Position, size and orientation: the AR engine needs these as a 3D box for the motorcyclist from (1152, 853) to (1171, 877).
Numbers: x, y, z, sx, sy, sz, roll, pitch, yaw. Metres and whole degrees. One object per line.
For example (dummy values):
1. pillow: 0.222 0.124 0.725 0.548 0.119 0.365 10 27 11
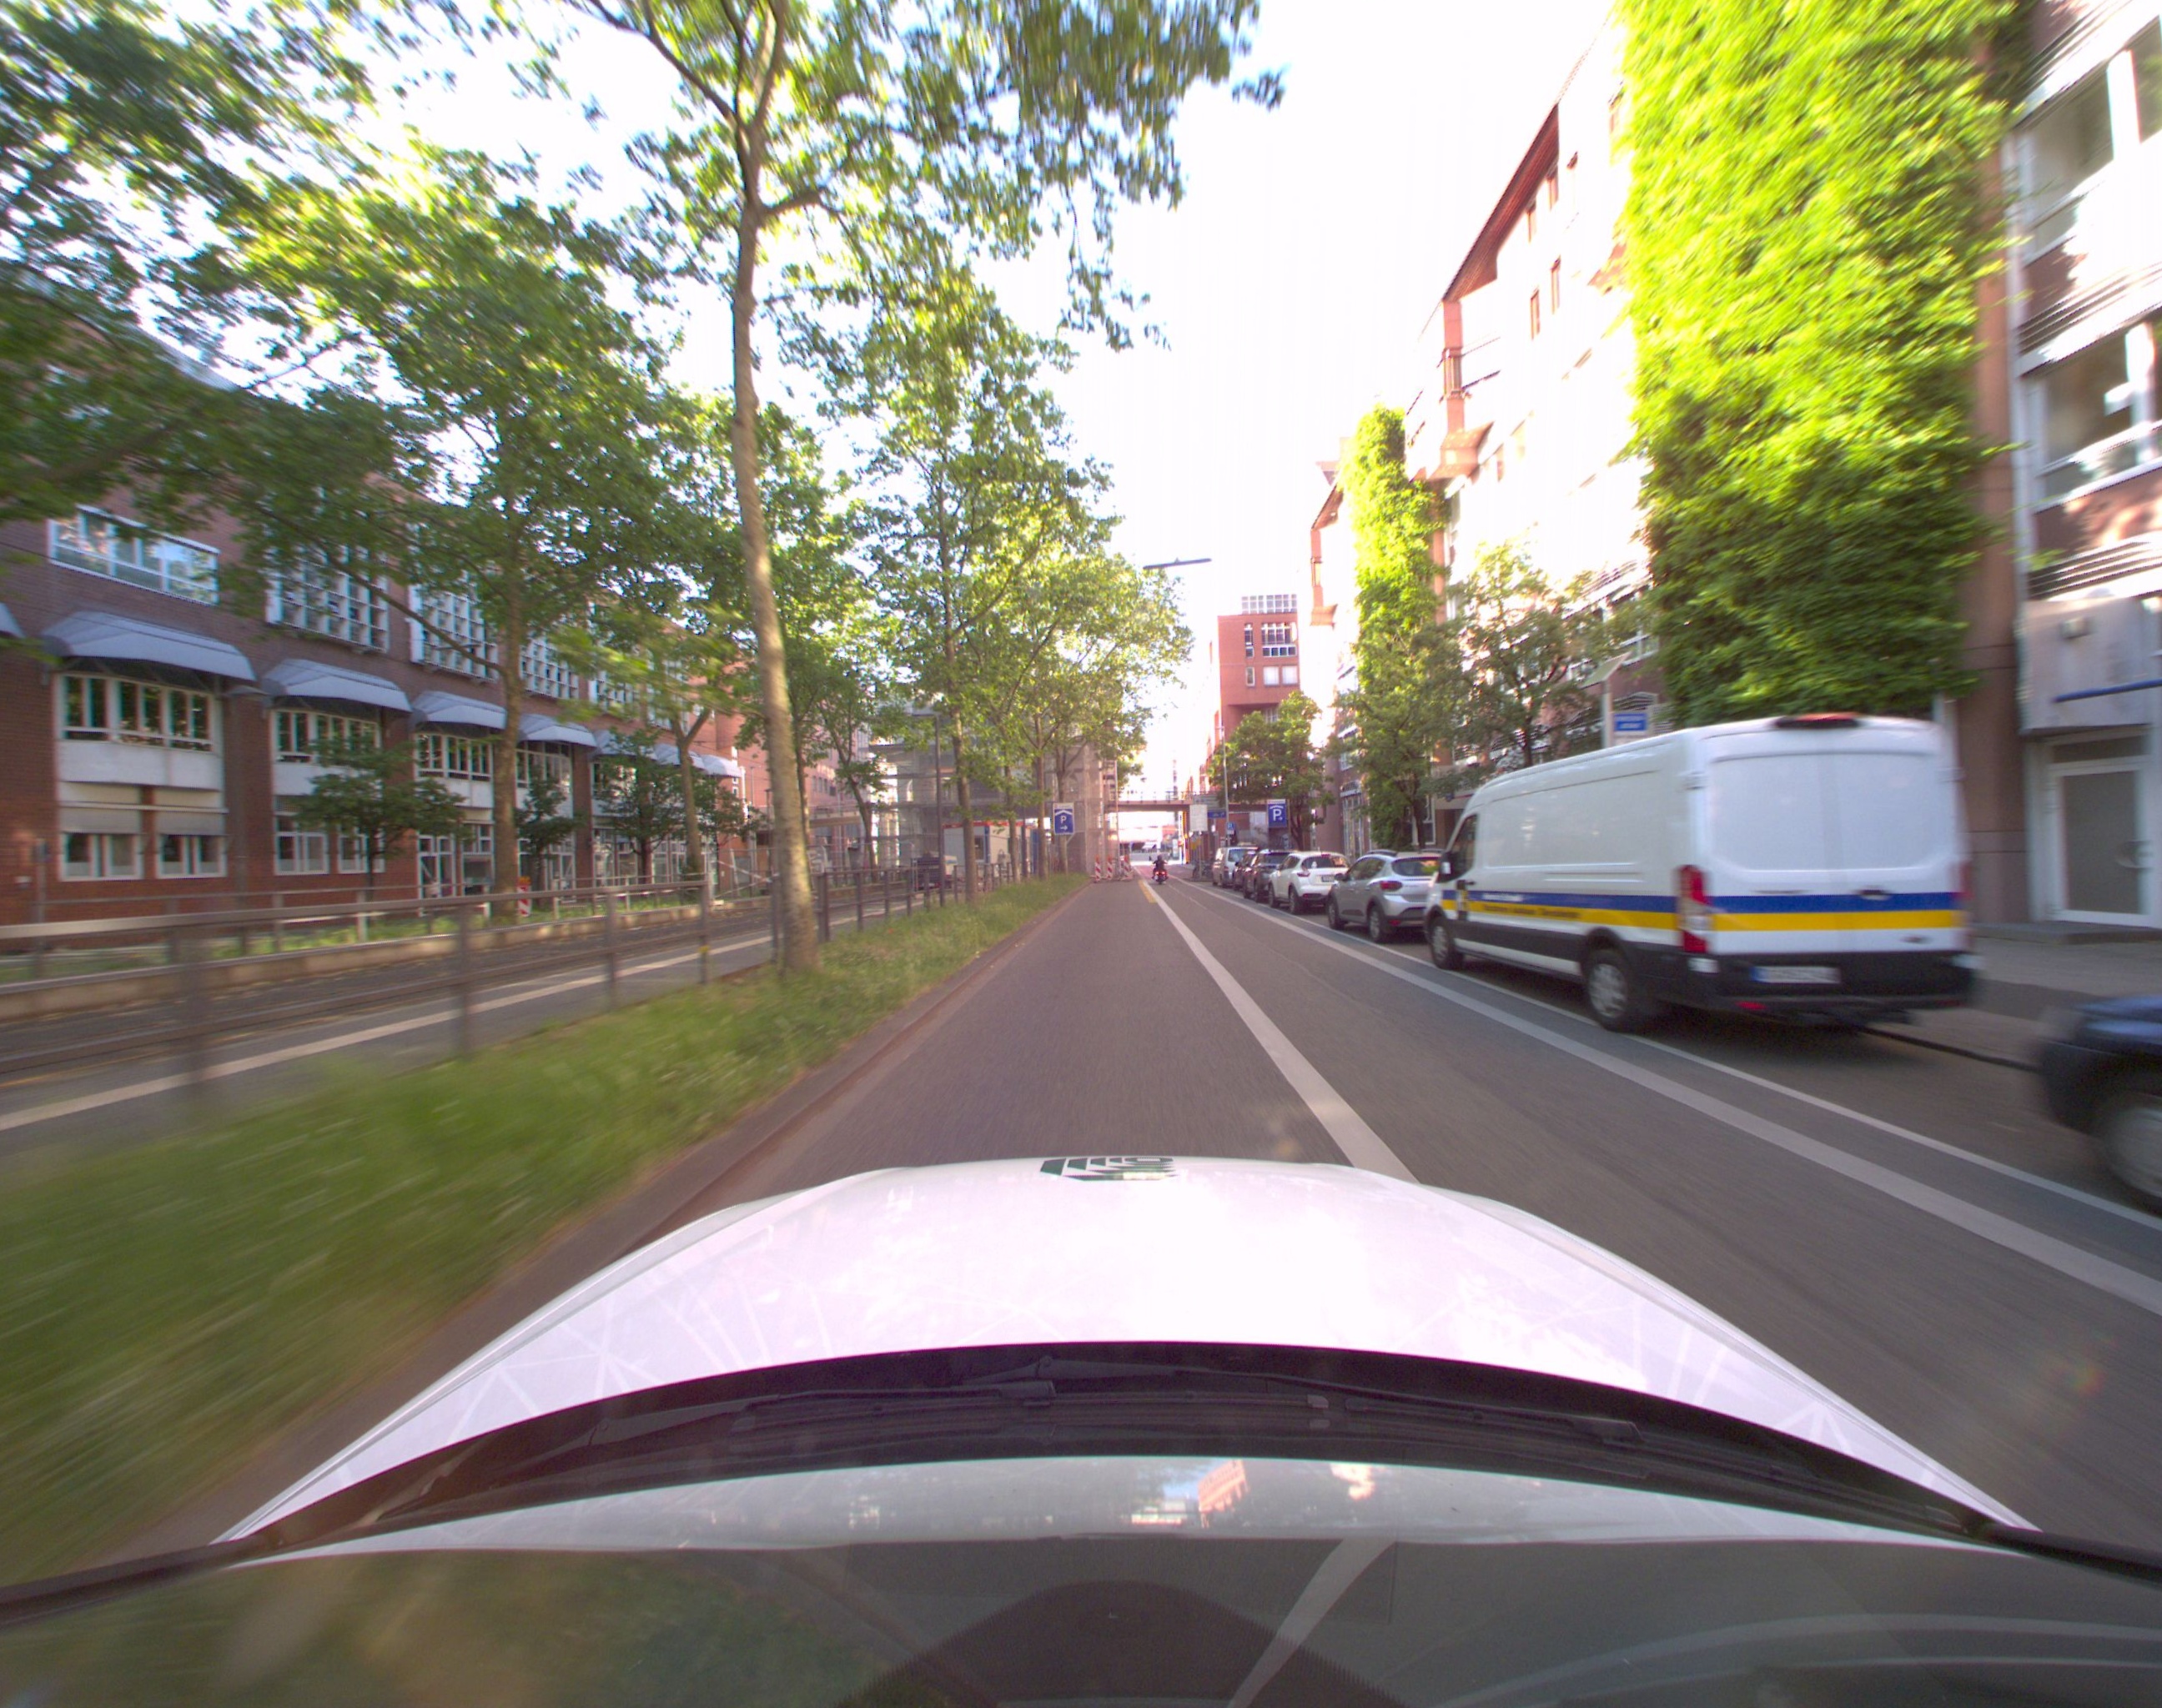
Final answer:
1. motorcyclist: 4.340 0.597 43.960 1.006 1.263 0.775 0 0 6

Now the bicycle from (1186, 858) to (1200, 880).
1. bicycle: 6.860 0.910 49.900 0.661 1.234 2.230 -2 0 4

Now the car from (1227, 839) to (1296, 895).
1. car: 7.114 0.477 32.532 1.828 2.013 4.390 -2 0 2

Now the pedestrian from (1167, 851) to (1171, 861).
1. pedestrian: 16.722 0.383 154.850 0.537 1.882 0.531 -2 0 14

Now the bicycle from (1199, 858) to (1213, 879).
1. bicycle: 7.640 0.895 49.837 0.661 1.234 2.230 -2 0 4

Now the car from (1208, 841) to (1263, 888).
1. car: 7.202 0.448 38.286 1.828 2.013 4.390 -2 0 2

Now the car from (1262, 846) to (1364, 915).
1. car: 6.040 0.644 21.588 1.615 1.610 3.774 -2 0 0

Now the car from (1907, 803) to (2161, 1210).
1. car: 5.042 0.584 1.963 1.614 1.619 4.487 -2 0 2

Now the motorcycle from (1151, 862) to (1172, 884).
1. motorcycle: 4.346 1.008 43.870 1.012 1.097 2.011 -1 0 7

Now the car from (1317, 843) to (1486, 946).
1. car: 5.712 0.652 15.016 1.615 1.603 3.774 -2 0 0

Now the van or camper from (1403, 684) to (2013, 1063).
1. van or camper: 5.453 0.135 8.500 2.041 2.540 5.776 -2 0 2

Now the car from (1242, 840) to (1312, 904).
1. car: 6.223 0.527 26.191 1.612 1.865 3.780 -2 0 5

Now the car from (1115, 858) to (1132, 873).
1. car: 5.487 1.453 104.799 1.846 1.717 3.998 -2 0 -1
